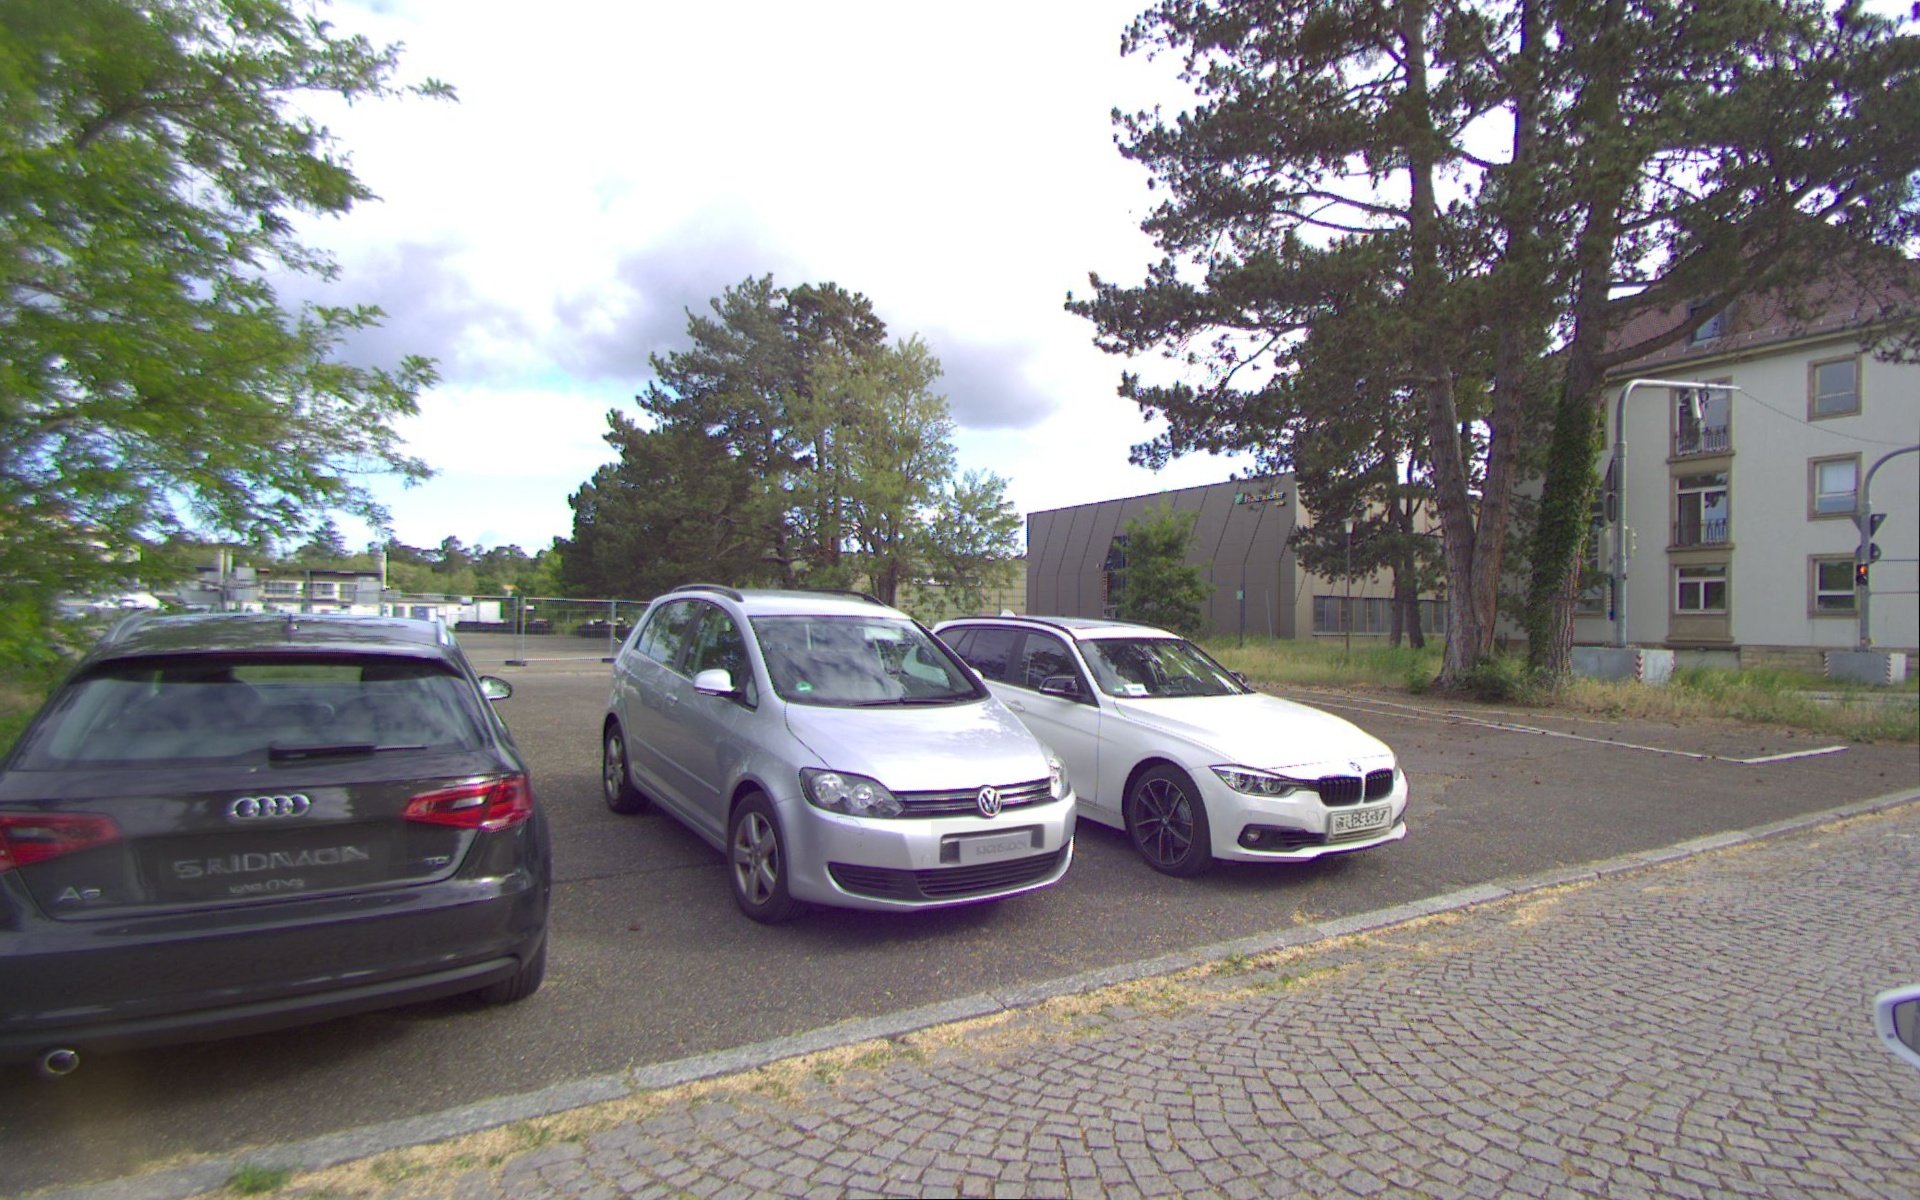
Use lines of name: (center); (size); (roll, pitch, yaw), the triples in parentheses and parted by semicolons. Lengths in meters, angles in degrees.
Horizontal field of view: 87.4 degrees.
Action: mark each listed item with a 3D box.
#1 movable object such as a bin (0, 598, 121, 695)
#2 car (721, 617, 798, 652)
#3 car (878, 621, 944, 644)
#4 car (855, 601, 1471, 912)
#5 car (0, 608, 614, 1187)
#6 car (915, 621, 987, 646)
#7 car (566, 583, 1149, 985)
movable object such as a bin: (-12.734, 0.612, 13.992); (1.157, 1.228, 2.519); (2, -1, -30)
car: (-9.030, 1.519, 44.987); (1.905, 1.496, 4.329); (2, -2, -33)
car: (-3.608, 2.348, 73.815); (4.479, 1.552, 1.984); (0, 0, -30)
car: (1.104, 0.843, 7.776); (1.892, 1.459, 4.778); (1, 1, -32)
car: (-3.159, 0.789, 4.754); (1.864, 1.441, 4.594); (1, -2, -32)
car: (-0.571, 2.233, 66.970); (4.485, 1.552, 1.981); (0, 0, -34)
car: (-1.043, 0.735, 6.421); (1.828, 1.611, 4.445); (2, 0, -34)
